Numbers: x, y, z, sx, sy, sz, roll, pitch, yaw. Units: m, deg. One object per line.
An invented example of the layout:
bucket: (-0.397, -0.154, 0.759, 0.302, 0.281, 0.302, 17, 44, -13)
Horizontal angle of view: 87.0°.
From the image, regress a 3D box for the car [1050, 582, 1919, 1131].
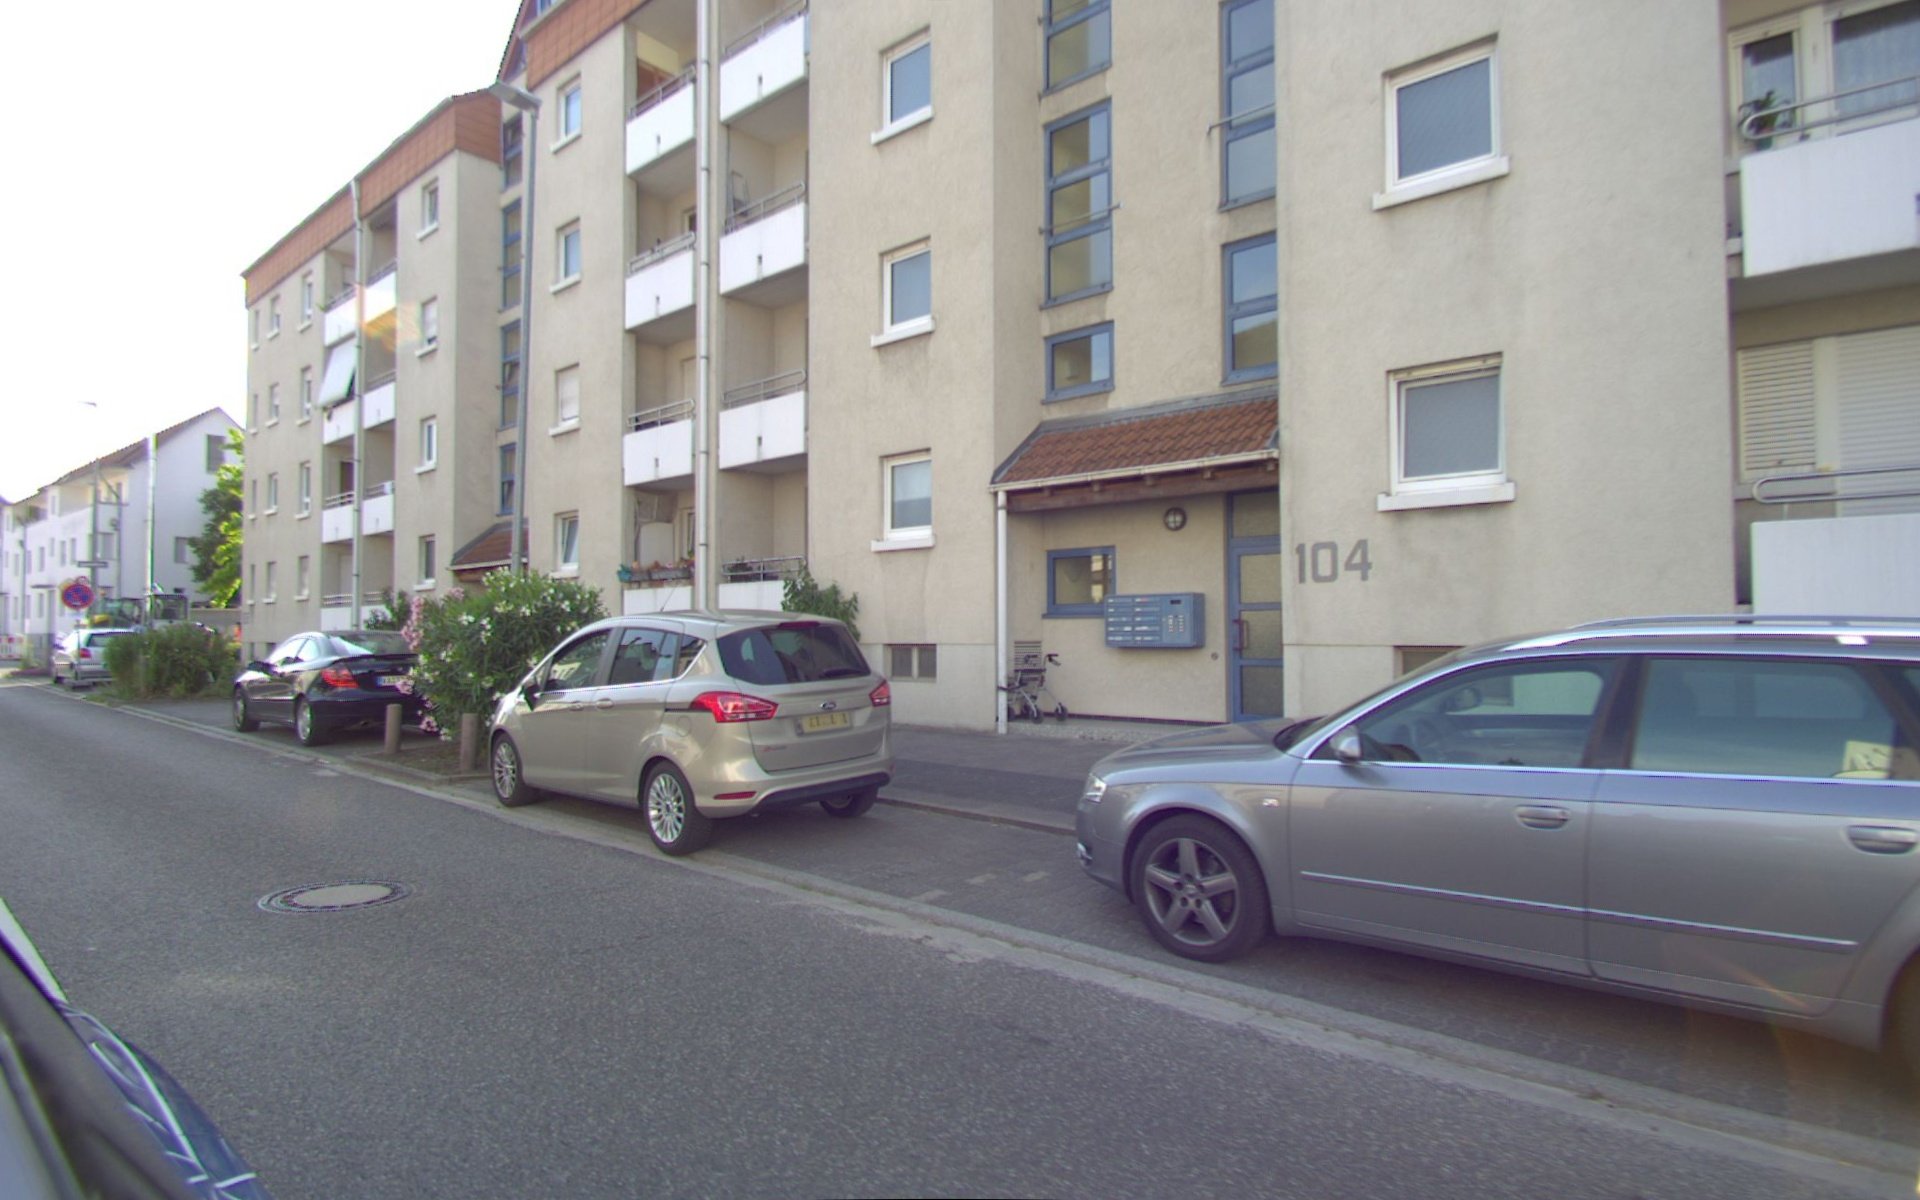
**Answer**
car: (2.668, 0.743, 4.012, 4.366, 1.532, 1.789, -2, -2, 40)

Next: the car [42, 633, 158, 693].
car: (-21.929, 1.557, 25.765, 3.668, 1.406, 1.624, -2, -2, 40)

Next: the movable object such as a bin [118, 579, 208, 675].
movable object such as a bin: (-27.787, 0.978, 35.237, 3.896, 3.162, 1.631, -2, -3, 40)

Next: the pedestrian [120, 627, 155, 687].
pedestrian: (-25.598, 1.770, 31.493, 0.745, 1.832, 0.711, -3, -2, 41)

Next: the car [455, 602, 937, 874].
car: (-2.213, 0.846, 7.849, 3.964, 1.567, 1.708, -2, -1, 42)

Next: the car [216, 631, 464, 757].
car: (-8.408, 1.144, 13.585, 4.081, 1.416, 1.669, -2, -2, 40)

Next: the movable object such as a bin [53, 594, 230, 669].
movable object such as a bin: (-34.478, 1.306, 42.834, 2.103, 2.923, 5.461, -2, -2, 29)
